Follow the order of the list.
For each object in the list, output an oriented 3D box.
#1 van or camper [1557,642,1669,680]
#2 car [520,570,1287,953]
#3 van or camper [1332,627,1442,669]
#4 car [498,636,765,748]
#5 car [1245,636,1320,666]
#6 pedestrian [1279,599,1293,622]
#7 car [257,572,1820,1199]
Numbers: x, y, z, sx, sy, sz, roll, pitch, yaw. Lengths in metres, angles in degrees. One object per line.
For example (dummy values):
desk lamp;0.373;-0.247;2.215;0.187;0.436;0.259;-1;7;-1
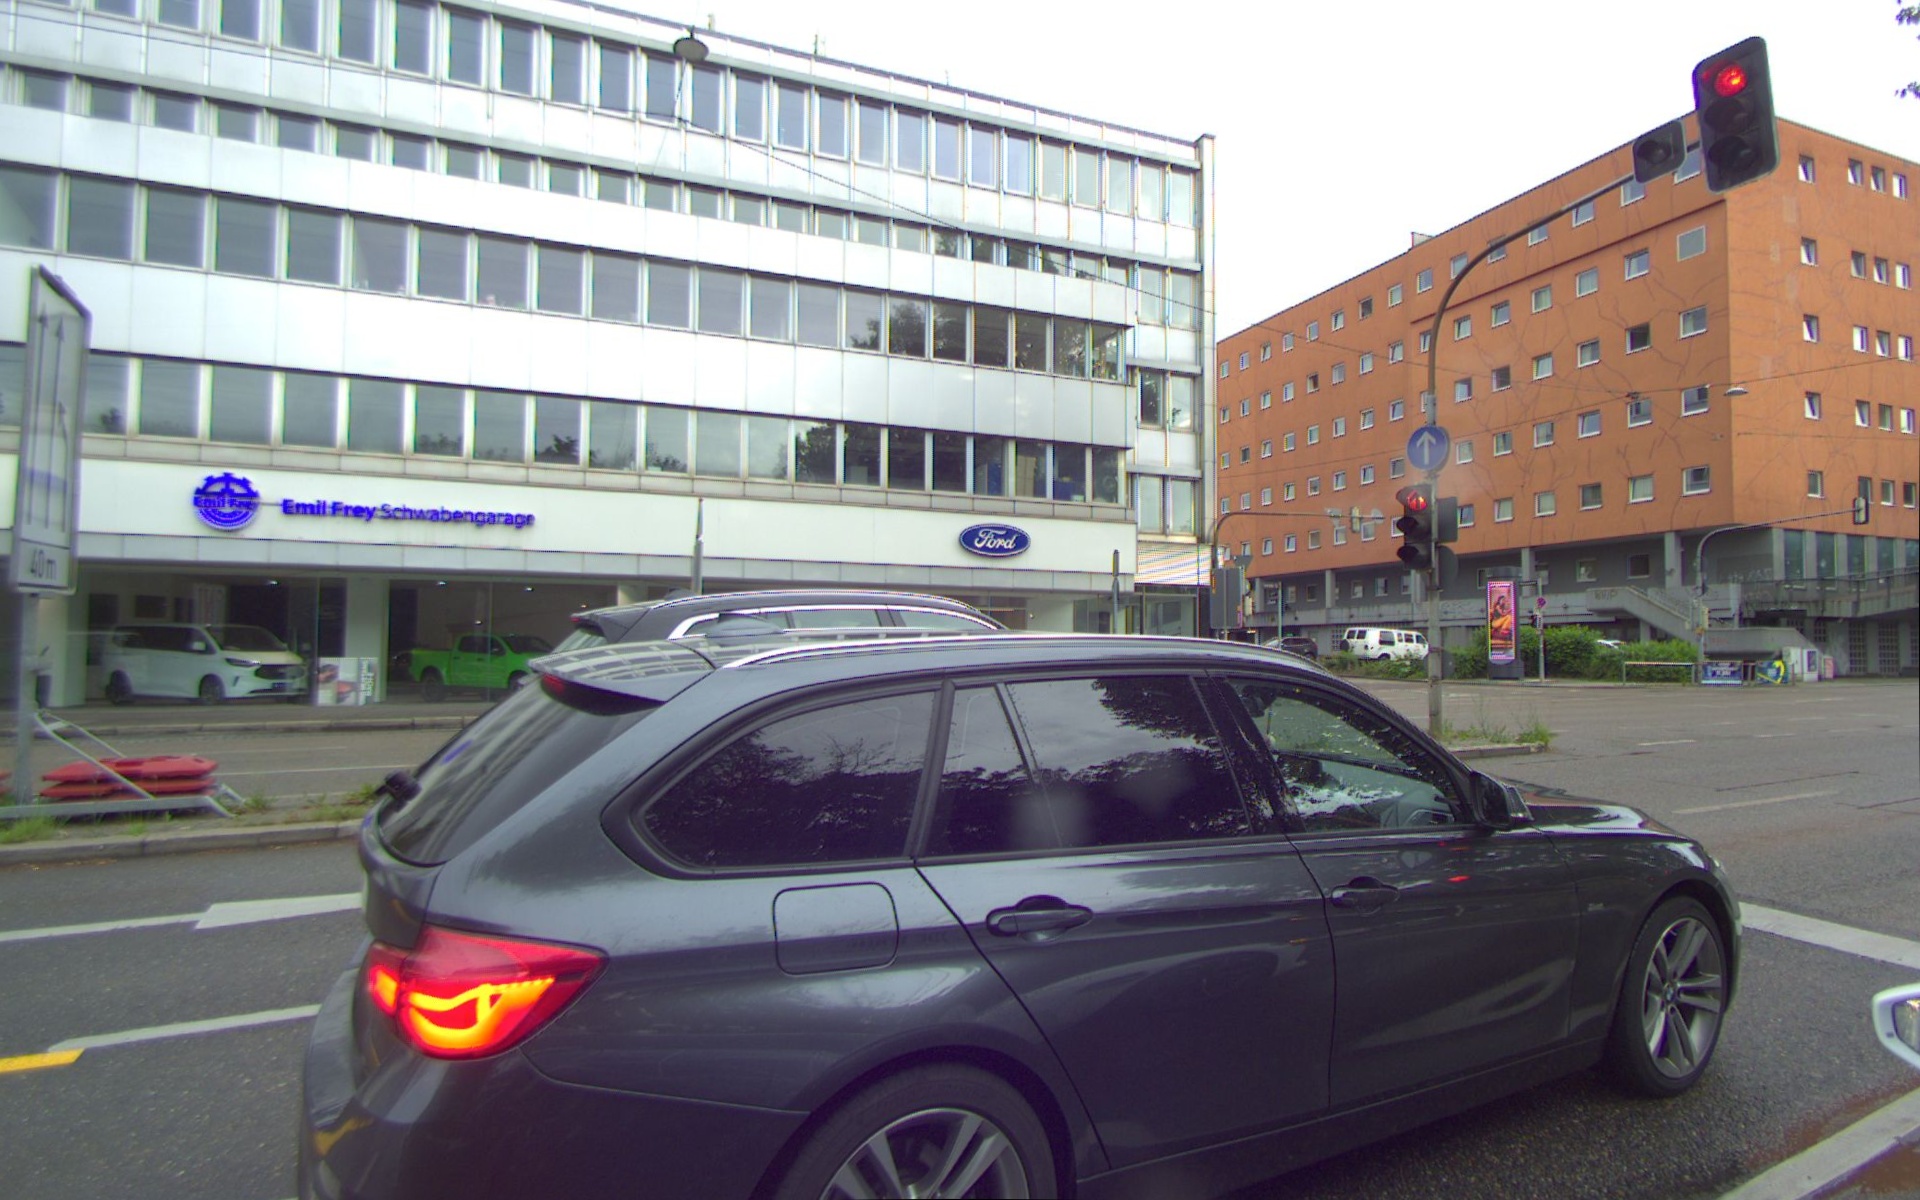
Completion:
van or camper;30.049;2.760;46.328;1.887;1.648;3.978;1;-2;-23
car;-0.264;0.762;6.232;4.389;1.678;1.802;2;0;-28
van or camper;22.235;2.510;52.327;5.376;2.004;2.121;2;0;-23
car;-5.167;1.407;15.841;3.721;1.551;1.793;1;-5;-31
car;18.967;2.988;59.014;4.027;1.633;1.706;2;0;-23
pedestrian;26.649;0.870;82.052;0.714;1.864;0.761;2;0;-21
car;0.607;0.793;3.148;4.424;1.477;1.769;2;-3;-30
